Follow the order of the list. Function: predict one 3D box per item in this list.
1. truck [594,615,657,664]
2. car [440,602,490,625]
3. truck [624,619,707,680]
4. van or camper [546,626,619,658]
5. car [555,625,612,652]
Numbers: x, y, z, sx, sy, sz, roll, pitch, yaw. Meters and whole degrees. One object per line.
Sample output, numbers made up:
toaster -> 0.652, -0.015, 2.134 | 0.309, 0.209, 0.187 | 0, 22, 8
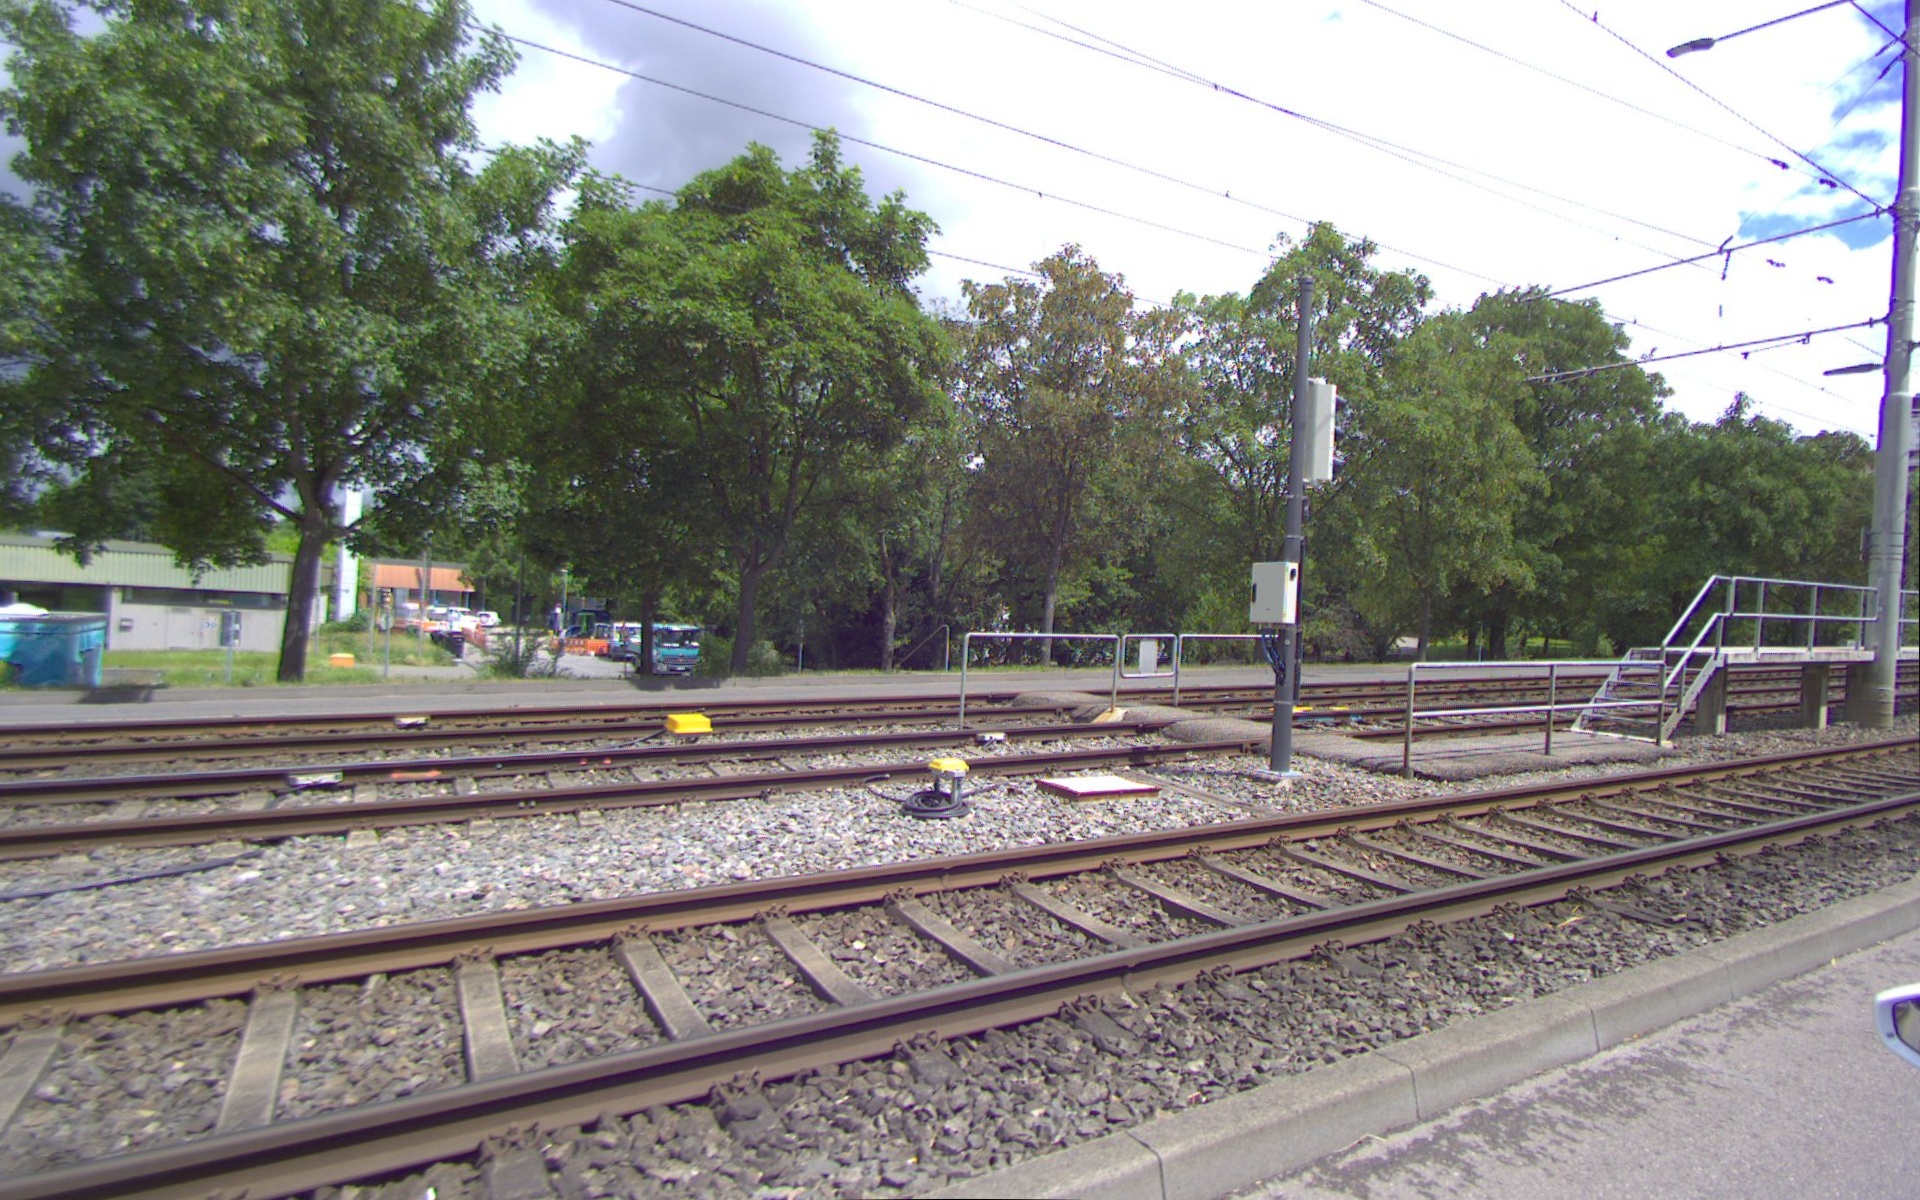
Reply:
truck -> -21.181, 2.474, 63.440 | 2.647, 2.893, 6.575 | 1, -2, -29
car -> -45.904, 1.233, 93.129 | 3.953, 2.040, 1.984 | 2, 0, -30
truck -> -15.027, 2.444, 50.942 | 2.647, 2.893, 6.575 | 1, -2, -29
van or camper -> -25.155, 2.788, 67.027 | 4.069, 2.040, 2.000 | 0, -2, -1
car -> -30.171, 3.052, 80.525 | 3.953, 2.040, 1.984 | 2, 0, -30
